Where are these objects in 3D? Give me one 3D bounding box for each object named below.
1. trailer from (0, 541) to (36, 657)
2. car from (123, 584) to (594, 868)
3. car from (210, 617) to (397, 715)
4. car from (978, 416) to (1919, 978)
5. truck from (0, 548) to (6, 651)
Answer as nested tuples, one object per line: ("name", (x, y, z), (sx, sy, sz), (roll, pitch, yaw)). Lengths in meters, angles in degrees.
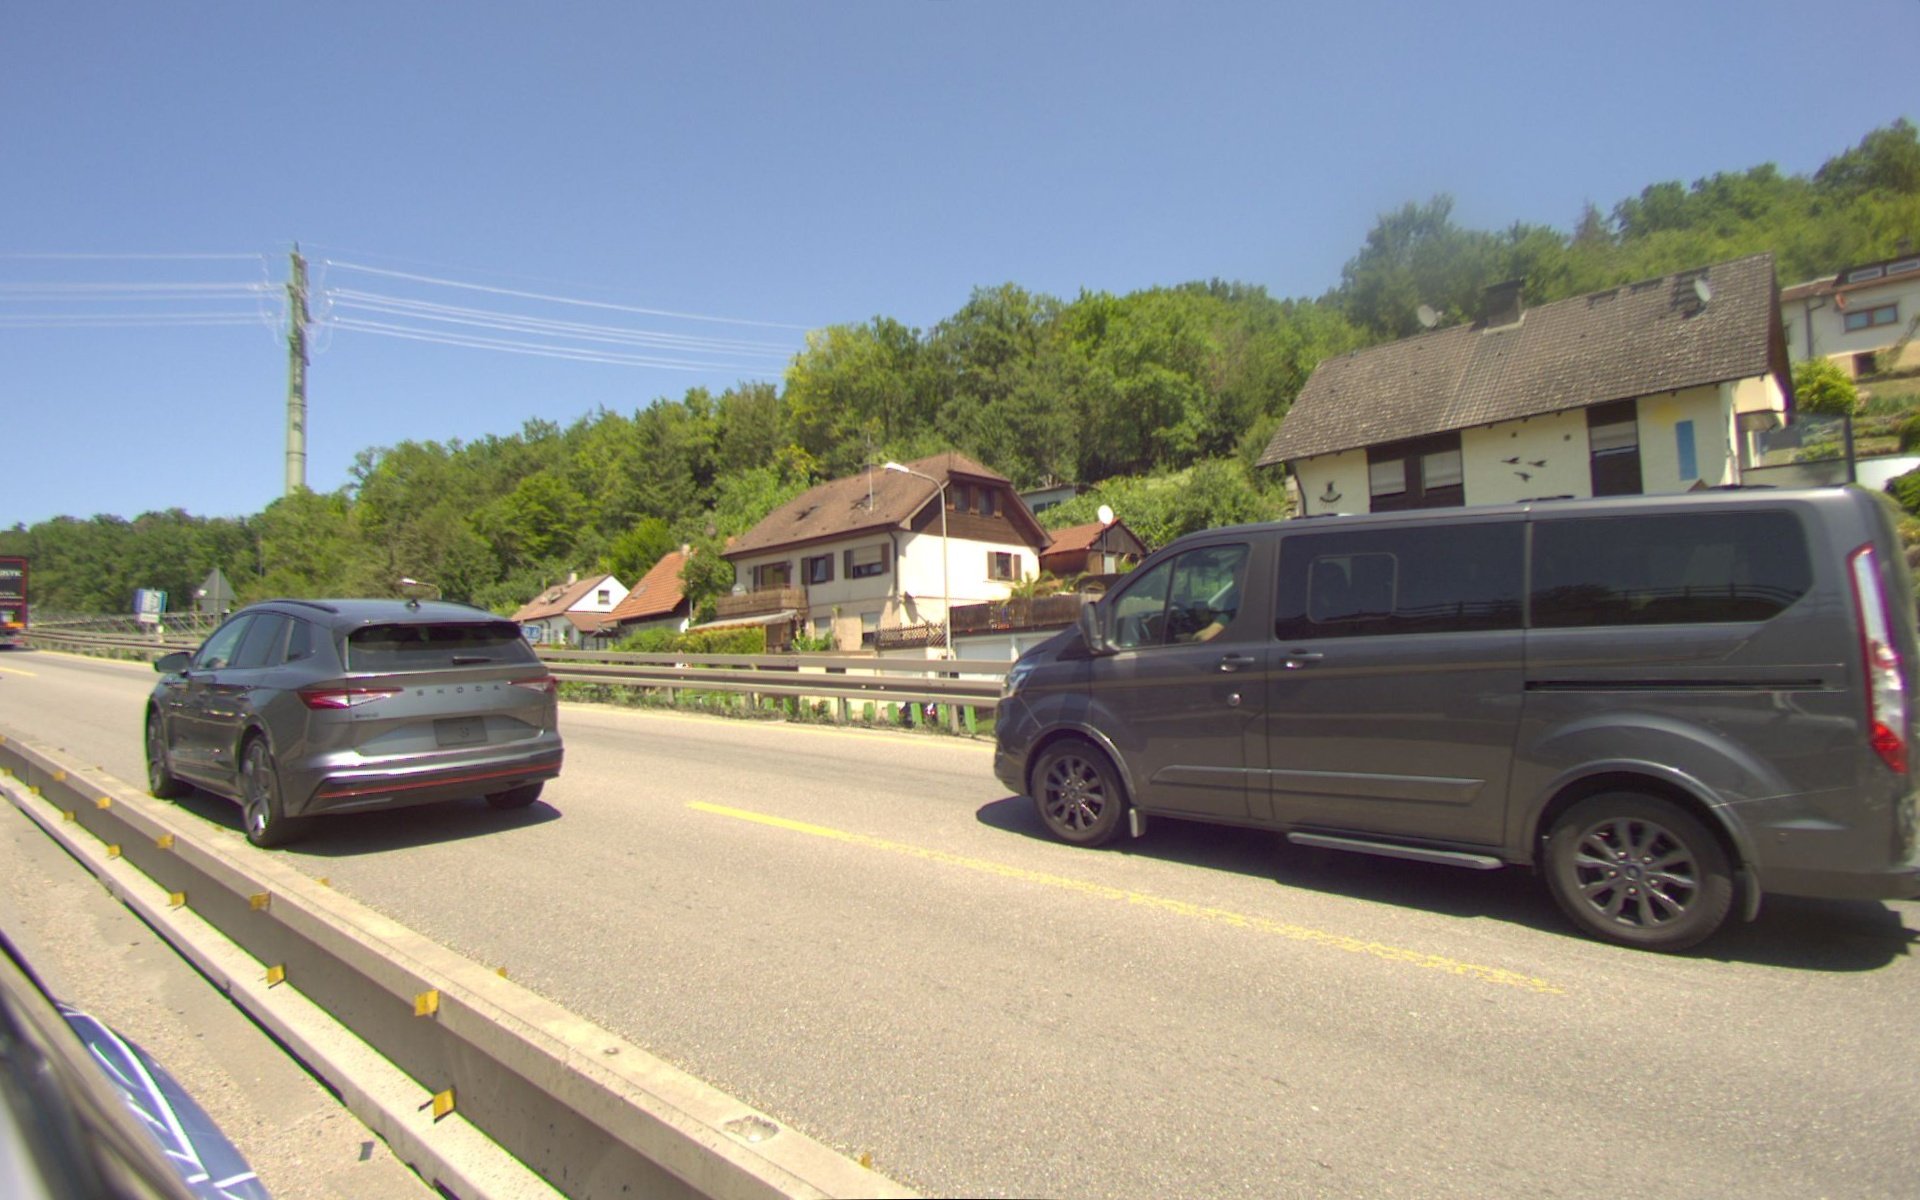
("trailer", (-44.401, 0.012, 45.114), (12.067, 4.750, 3.090), (-1, 0, 40))
("car", (-4.790, 0.757, 7.798), (4.318, 1.599, 1.779), (-1, -2, 40))
("car", (-11.541, 1.078, 17.707), (3.851, 1.526, 1.610), (-1, -2, 39))
("car", (2.629, 0.370, 5.699), (4.978, 2.029, 1.973), (-1, -1, 41))
("truck", (-49.518, 0.032, 49.358), (9.114, 4.797, 3.142), (-1, 0, 39))
